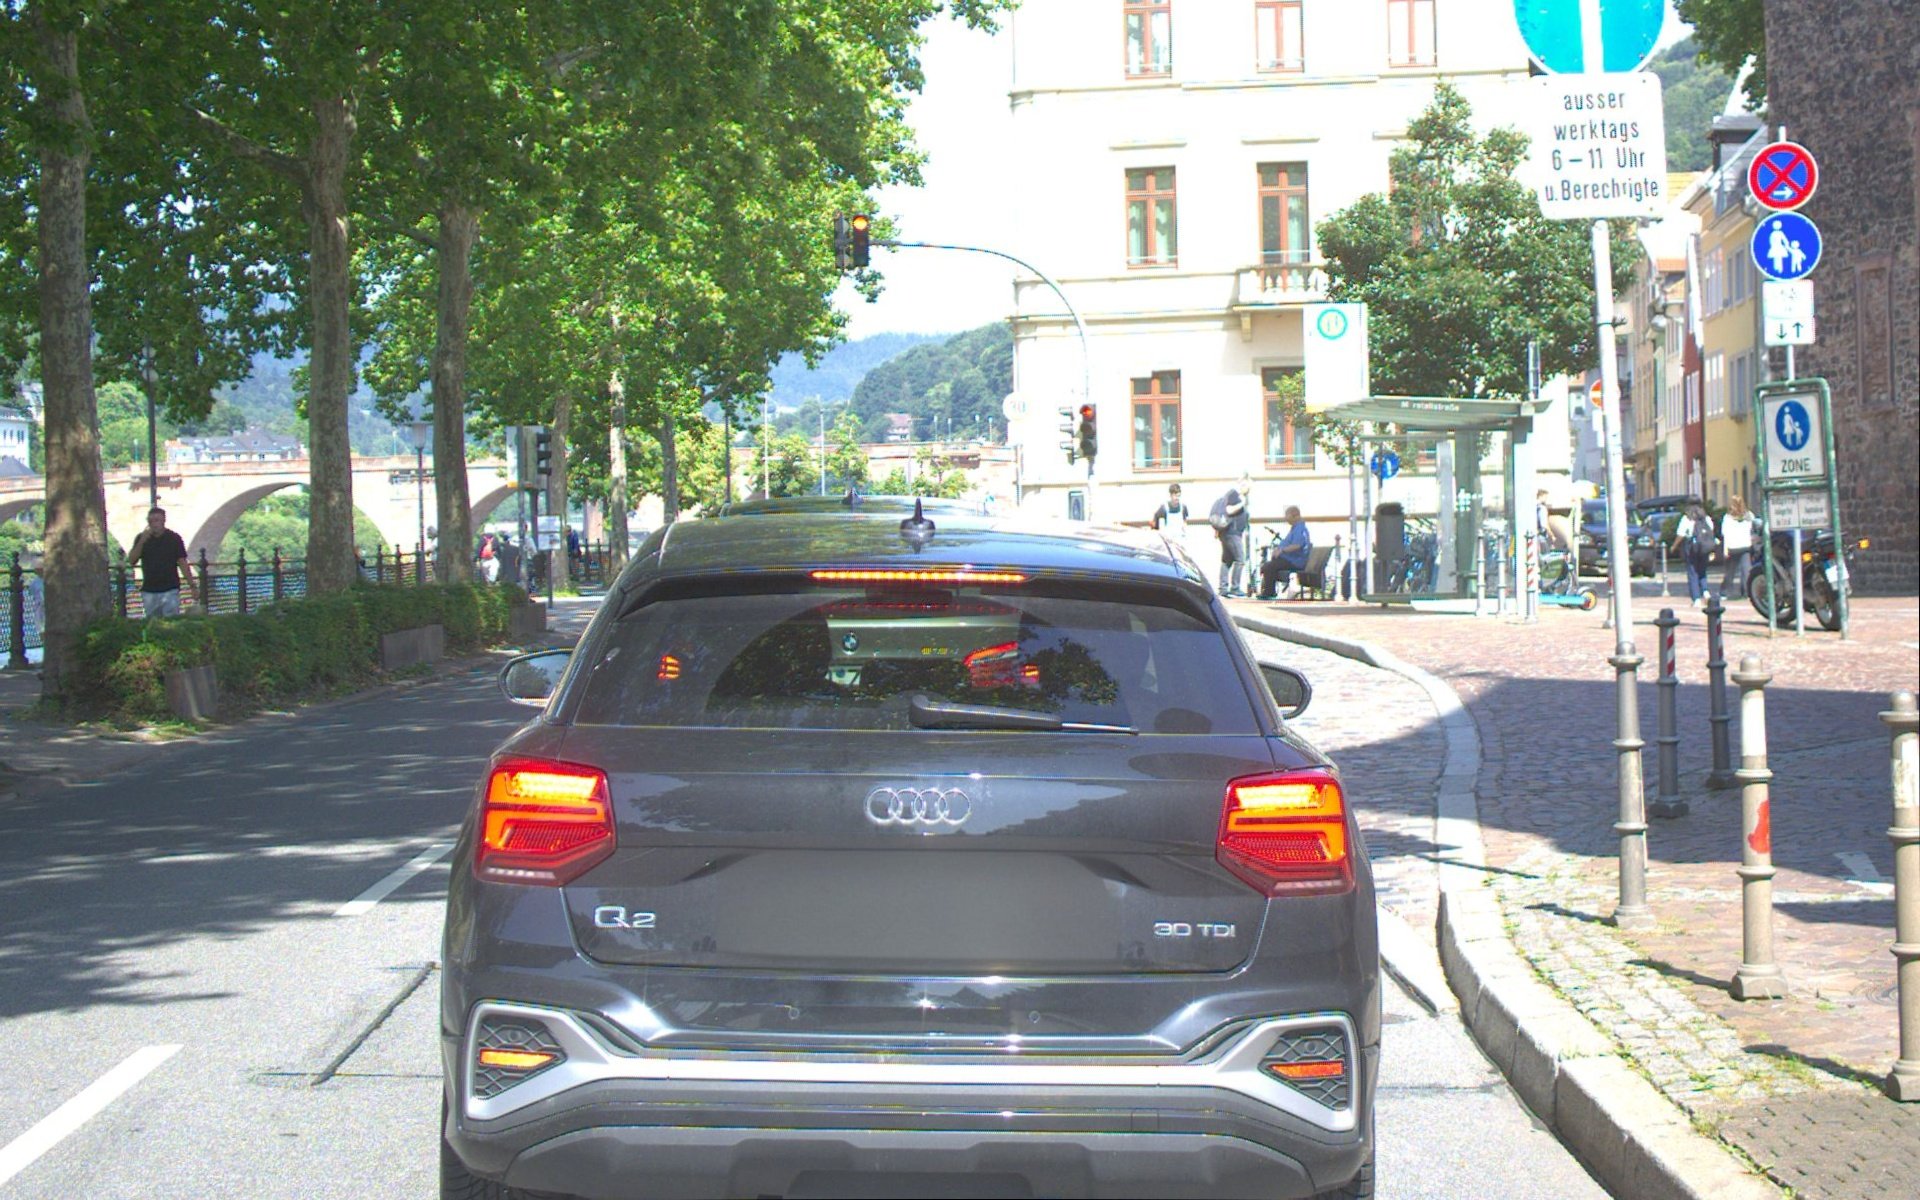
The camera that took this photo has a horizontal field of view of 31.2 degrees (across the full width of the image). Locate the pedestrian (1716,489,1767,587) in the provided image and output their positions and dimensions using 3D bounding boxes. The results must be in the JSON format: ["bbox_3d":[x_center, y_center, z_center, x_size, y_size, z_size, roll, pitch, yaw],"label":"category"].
[{"bbox_3d":[12.123,-0.962,53.337,0.658,1.512,0.548,1,1,1],"label":"pedestrian"}]

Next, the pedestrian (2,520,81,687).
[{"bbox_3d":[-9.533,0.028,35.706,0.645,1.711,0.665,1,1,-3],"label":"pedestrian"}]

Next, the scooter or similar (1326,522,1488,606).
[{"bbox_3d":[5.296,-0.428,40.793,1.845,0.960,0.429,1,1,-1],"label":"scooter or similar"}]

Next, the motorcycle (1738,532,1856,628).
[{"bbox_3d":[7.608,-0.202,31.325,0.483,0.815,2.280,-2,1,0],"label":"motorcycle"}]

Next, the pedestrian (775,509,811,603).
[{"bbox_3d":[-2.792,-0.739,57.400,0.557,1.552,0.660,0,1,1],"label":"pedestrian"}]

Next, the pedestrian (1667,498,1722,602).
[{"bbox_3d":[10.627,-0.723,49.759,0.658,1.488,0.548,1,1,1],"label":"pedestrian"}]

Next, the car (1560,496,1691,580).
[{"bbox_3d":[14.222,-1.334,73.698,1.993,1.710,4.000,1,1,0],"label":"car"}]

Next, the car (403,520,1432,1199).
[{"bbox_3d":[-0.127,0.578,7.700,1.748,1.489,3.629,1,1,-2],"label":"car"}]

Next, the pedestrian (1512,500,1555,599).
[{"bbox_3d":[9.480,-0.835,56.877,0.546,1.629,0.660,1,1,-3],"label":"pedestrian"}]

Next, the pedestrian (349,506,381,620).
[{"bbox_3d":[-10.260,-0.644,59.282,0.499,1.952,0.439,-1,1,-7],"label":"pedestrian"}]

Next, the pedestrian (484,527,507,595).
[{"bbox_3d":[-9.716,-0.821,71.878,0.409,1.420,0.457,1,1,-2],"label":"pedestrian"}]

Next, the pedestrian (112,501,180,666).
[{"bbox_3d":[-8.639,-0.180,36.511,0.563,1.735,0.665,-1,1,-3],"label":"pedestrian"}]

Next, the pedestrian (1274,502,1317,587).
[{"bbox_3d":[4.813,-0.793,49.285,0.546,1.197,0.522,1,1,1],"label":"pedestrian"}]

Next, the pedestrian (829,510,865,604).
[{"bbox_3d":[-1.877,-0.723,57.265,0.557,1.552,0.660,0,1,1],"label":"pedestrian"}]

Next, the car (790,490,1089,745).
[{"bbox_3d":[-0.134,0.066,23.212,1.801,1.518,3.716,-2,1,0],"label":"car"}]

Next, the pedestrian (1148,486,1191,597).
[{"bbox_3d":[2.961,-0.833,48.574,0.557,1.552,0.660,0,1,1],"label":"pedestrian"}]

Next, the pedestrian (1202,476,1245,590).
[{"bbox_3d":[3.820,-0.971,49.852,0.557,1.627,0.660,0,1,1],"label":"pedestrian"}]

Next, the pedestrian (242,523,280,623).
[{"bbox_3d":[-10.844,-0.426,53.332,0.497,1.532,0.680,1,1,-7],"label":"pedestrian"}]

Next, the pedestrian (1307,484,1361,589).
[{"bbox_3d":[5.597,-0.946,51.461,0.747,1.552,0.588,0,1,1],"label":"pedestrian"}]

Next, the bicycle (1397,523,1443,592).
[{"bbox_3d":[6.579,-0.615,49.230,0.450,0.971,1.400,1,1,0],"label":"bicycle"}]

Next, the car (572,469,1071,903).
[{"bbox_3d":[-0.518,0.281,14.445,1.801,1.557,3.716,1,1,0],"label":"car"}]

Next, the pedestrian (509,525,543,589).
[{"bbox_3d":[-8.736,-0.863,69.241,0.591,1.274,0.525,1,1,0],"label":"pedestrian"}]

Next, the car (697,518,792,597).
[{"bbox_3d":[-4.430,-0.896,70.933,1.615,1.518,3.476,-2,1,1],"label":"car"}]

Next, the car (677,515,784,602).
[{"bbox_3d":[-4.220,-0.789,63.547,1.615,1.518,3.476,-2,1,1],"label":"car"}]
